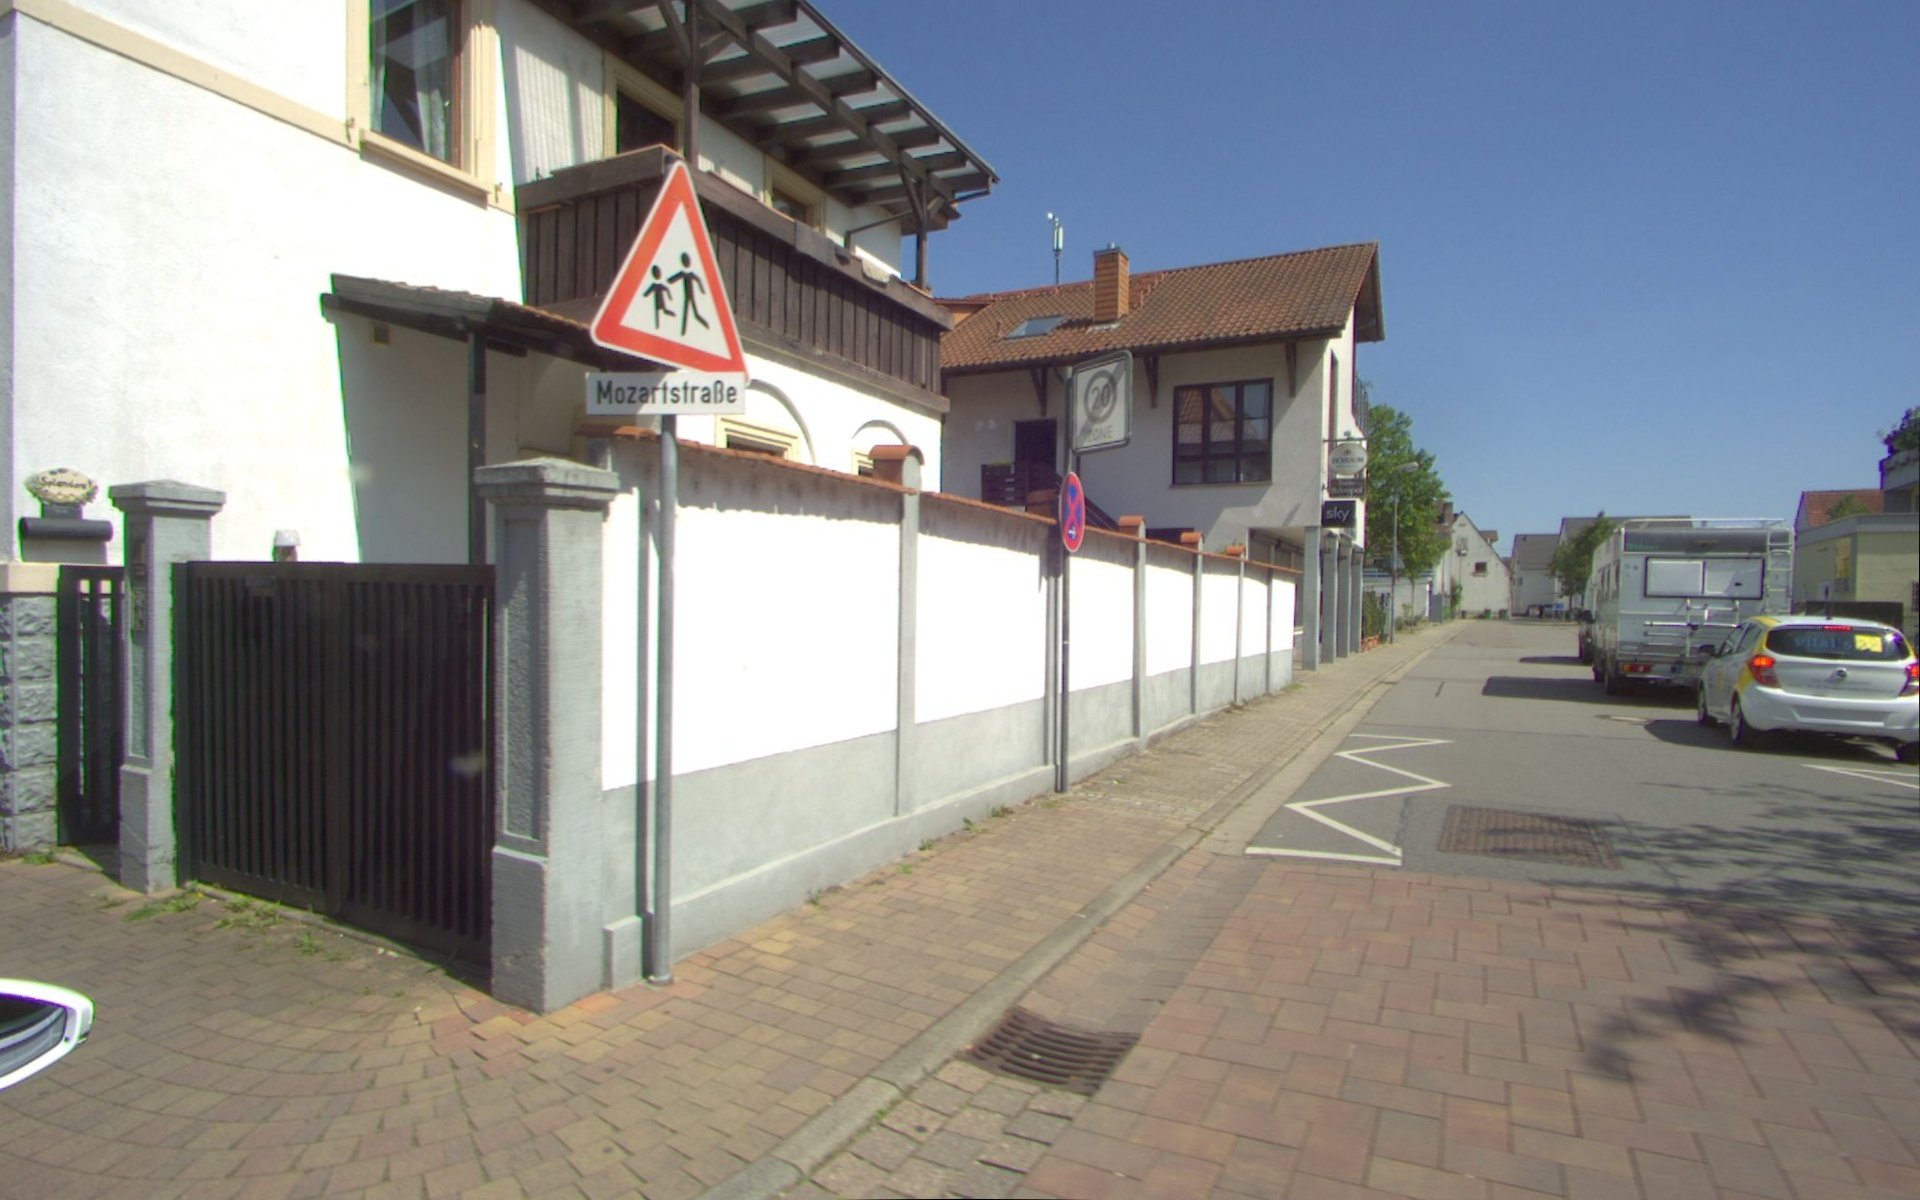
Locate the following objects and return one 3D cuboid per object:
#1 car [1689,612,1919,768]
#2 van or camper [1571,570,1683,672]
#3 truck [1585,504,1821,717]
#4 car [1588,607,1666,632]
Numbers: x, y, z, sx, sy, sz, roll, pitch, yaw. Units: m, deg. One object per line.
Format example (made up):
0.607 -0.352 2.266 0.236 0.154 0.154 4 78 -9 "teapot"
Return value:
9.857 0.912 11.711 1.629 1.471 3.611 2 1 29 "car"
18.054 0.520 27.324 2.037 2.511 4.654 1 0 28 "van or camper"
12.719 0.161 17.677 2.506 3.045 6.377 1 0 30 "truck"
38.458 1.126 57.813 3.452 1.330 1.388 1 1 22 "car"
